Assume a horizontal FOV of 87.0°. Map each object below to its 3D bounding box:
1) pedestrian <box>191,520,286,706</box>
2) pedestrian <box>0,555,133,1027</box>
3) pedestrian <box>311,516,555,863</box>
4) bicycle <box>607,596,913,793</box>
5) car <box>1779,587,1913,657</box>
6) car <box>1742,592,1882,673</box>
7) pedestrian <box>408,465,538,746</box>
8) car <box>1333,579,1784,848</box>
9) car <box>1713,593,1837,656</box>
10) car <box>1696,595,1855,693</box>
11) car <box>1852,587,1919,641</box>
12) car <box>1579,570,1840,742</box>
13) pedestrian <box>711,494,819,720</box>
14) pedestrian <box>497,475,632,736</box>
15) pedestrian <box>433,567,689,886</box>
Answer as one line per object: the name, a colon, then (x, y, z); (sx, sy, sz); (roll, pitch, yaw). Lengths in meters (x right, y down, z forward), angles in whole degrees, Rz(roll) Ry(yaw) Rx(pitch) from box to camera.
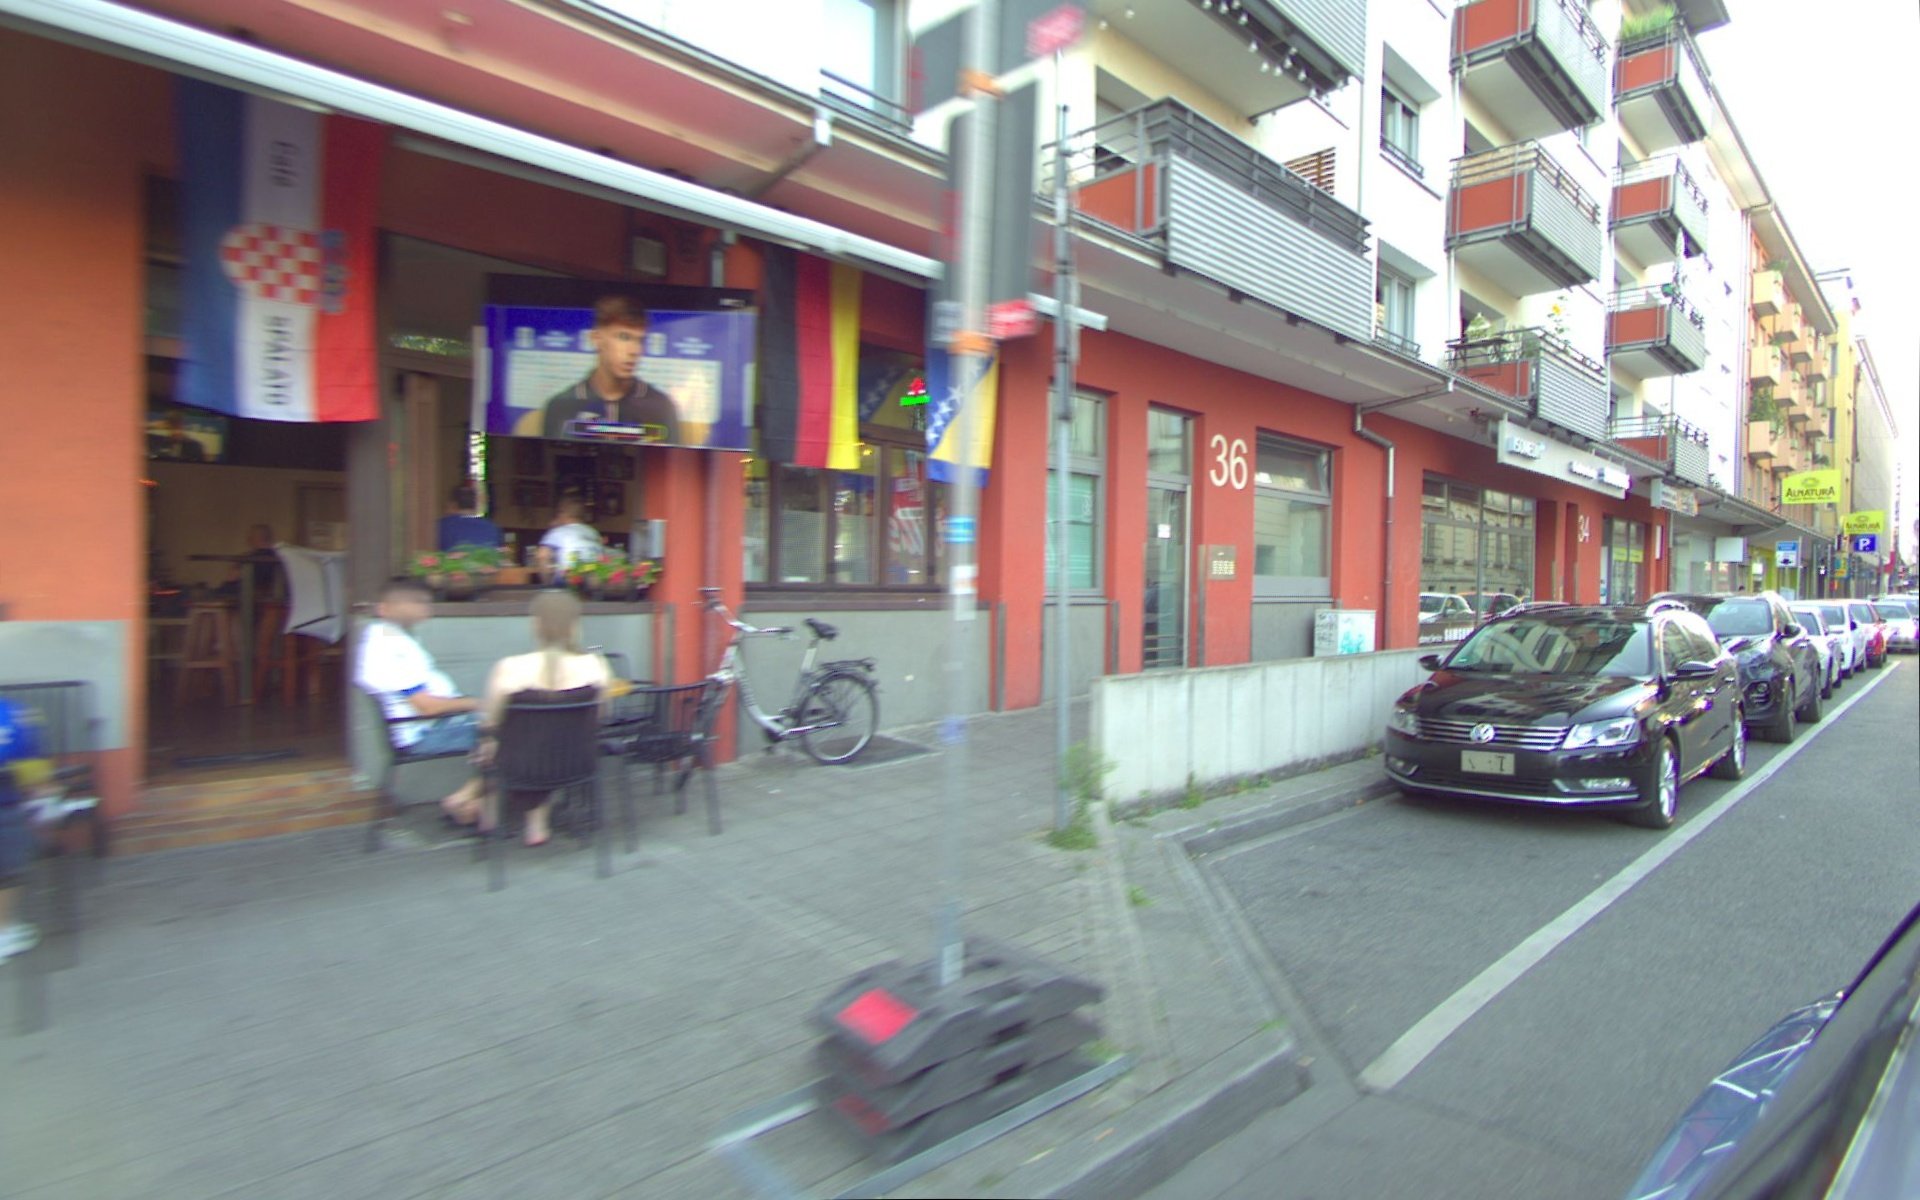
pedestrian: (-7.331, 0.123, 10.317); (0.746, 1.816, 0.651); (0, 0, -34)
pedestrian: (-3.203, 0.525, 3.098); (0.835, 1.322, 0.880); (0, 2, -24)
pedestrian: (-2.603, 0.398, 5.038); (0.844, 1.555, 0.708); (0, -1, 24)
bicycle: (-1.222, 0.530, 6.561); (1.972, 1.101, 0.549); (0, 0, -45)
car: (20.620, 0.465, 23.499); (4.319, 1.496, 1.864); (0, 0, -42)
car: (17.383, 0.593, 20.581); (3.881, 1.496, 1.764); (0, 0, -44)
pedestrian: (-3.259, 0.030, 6.778); (0.610, 1.760, 0.608); (1, 0, 45)
car: (5.007, 0.665, 8.157); (4.551, 1.572, 1.876); (0, 0, -42)
car: (21.279, 0.586, 26.365); (4.227, 1.496, 1.895); (0, 0, -42)
car: (13.629, 0.645, 16.839); (1.747, 1.421, 3.904); (0, 0, 44)
car: (30.318, 0.437, 32.420); (4.289, 1.637, 1.997); (0, 0, -40)
car: (9.133, 0.560, 12.208); (4.069, 1.721, 1.880); (0, 0, -44)
pedestrian: (-1.861, 0.057, 9.653); (0.799, 2.039, 0.670); (0, 0, -34)
pedestrian: (-2.836, 0.032, 7.256); (0.717, 1.742, 0.658); (1, 0, 45)
pedestrian: (-1.820, 0.512, 4.675); (0.844, 1.293, 0.709); (2, 3, 24)
